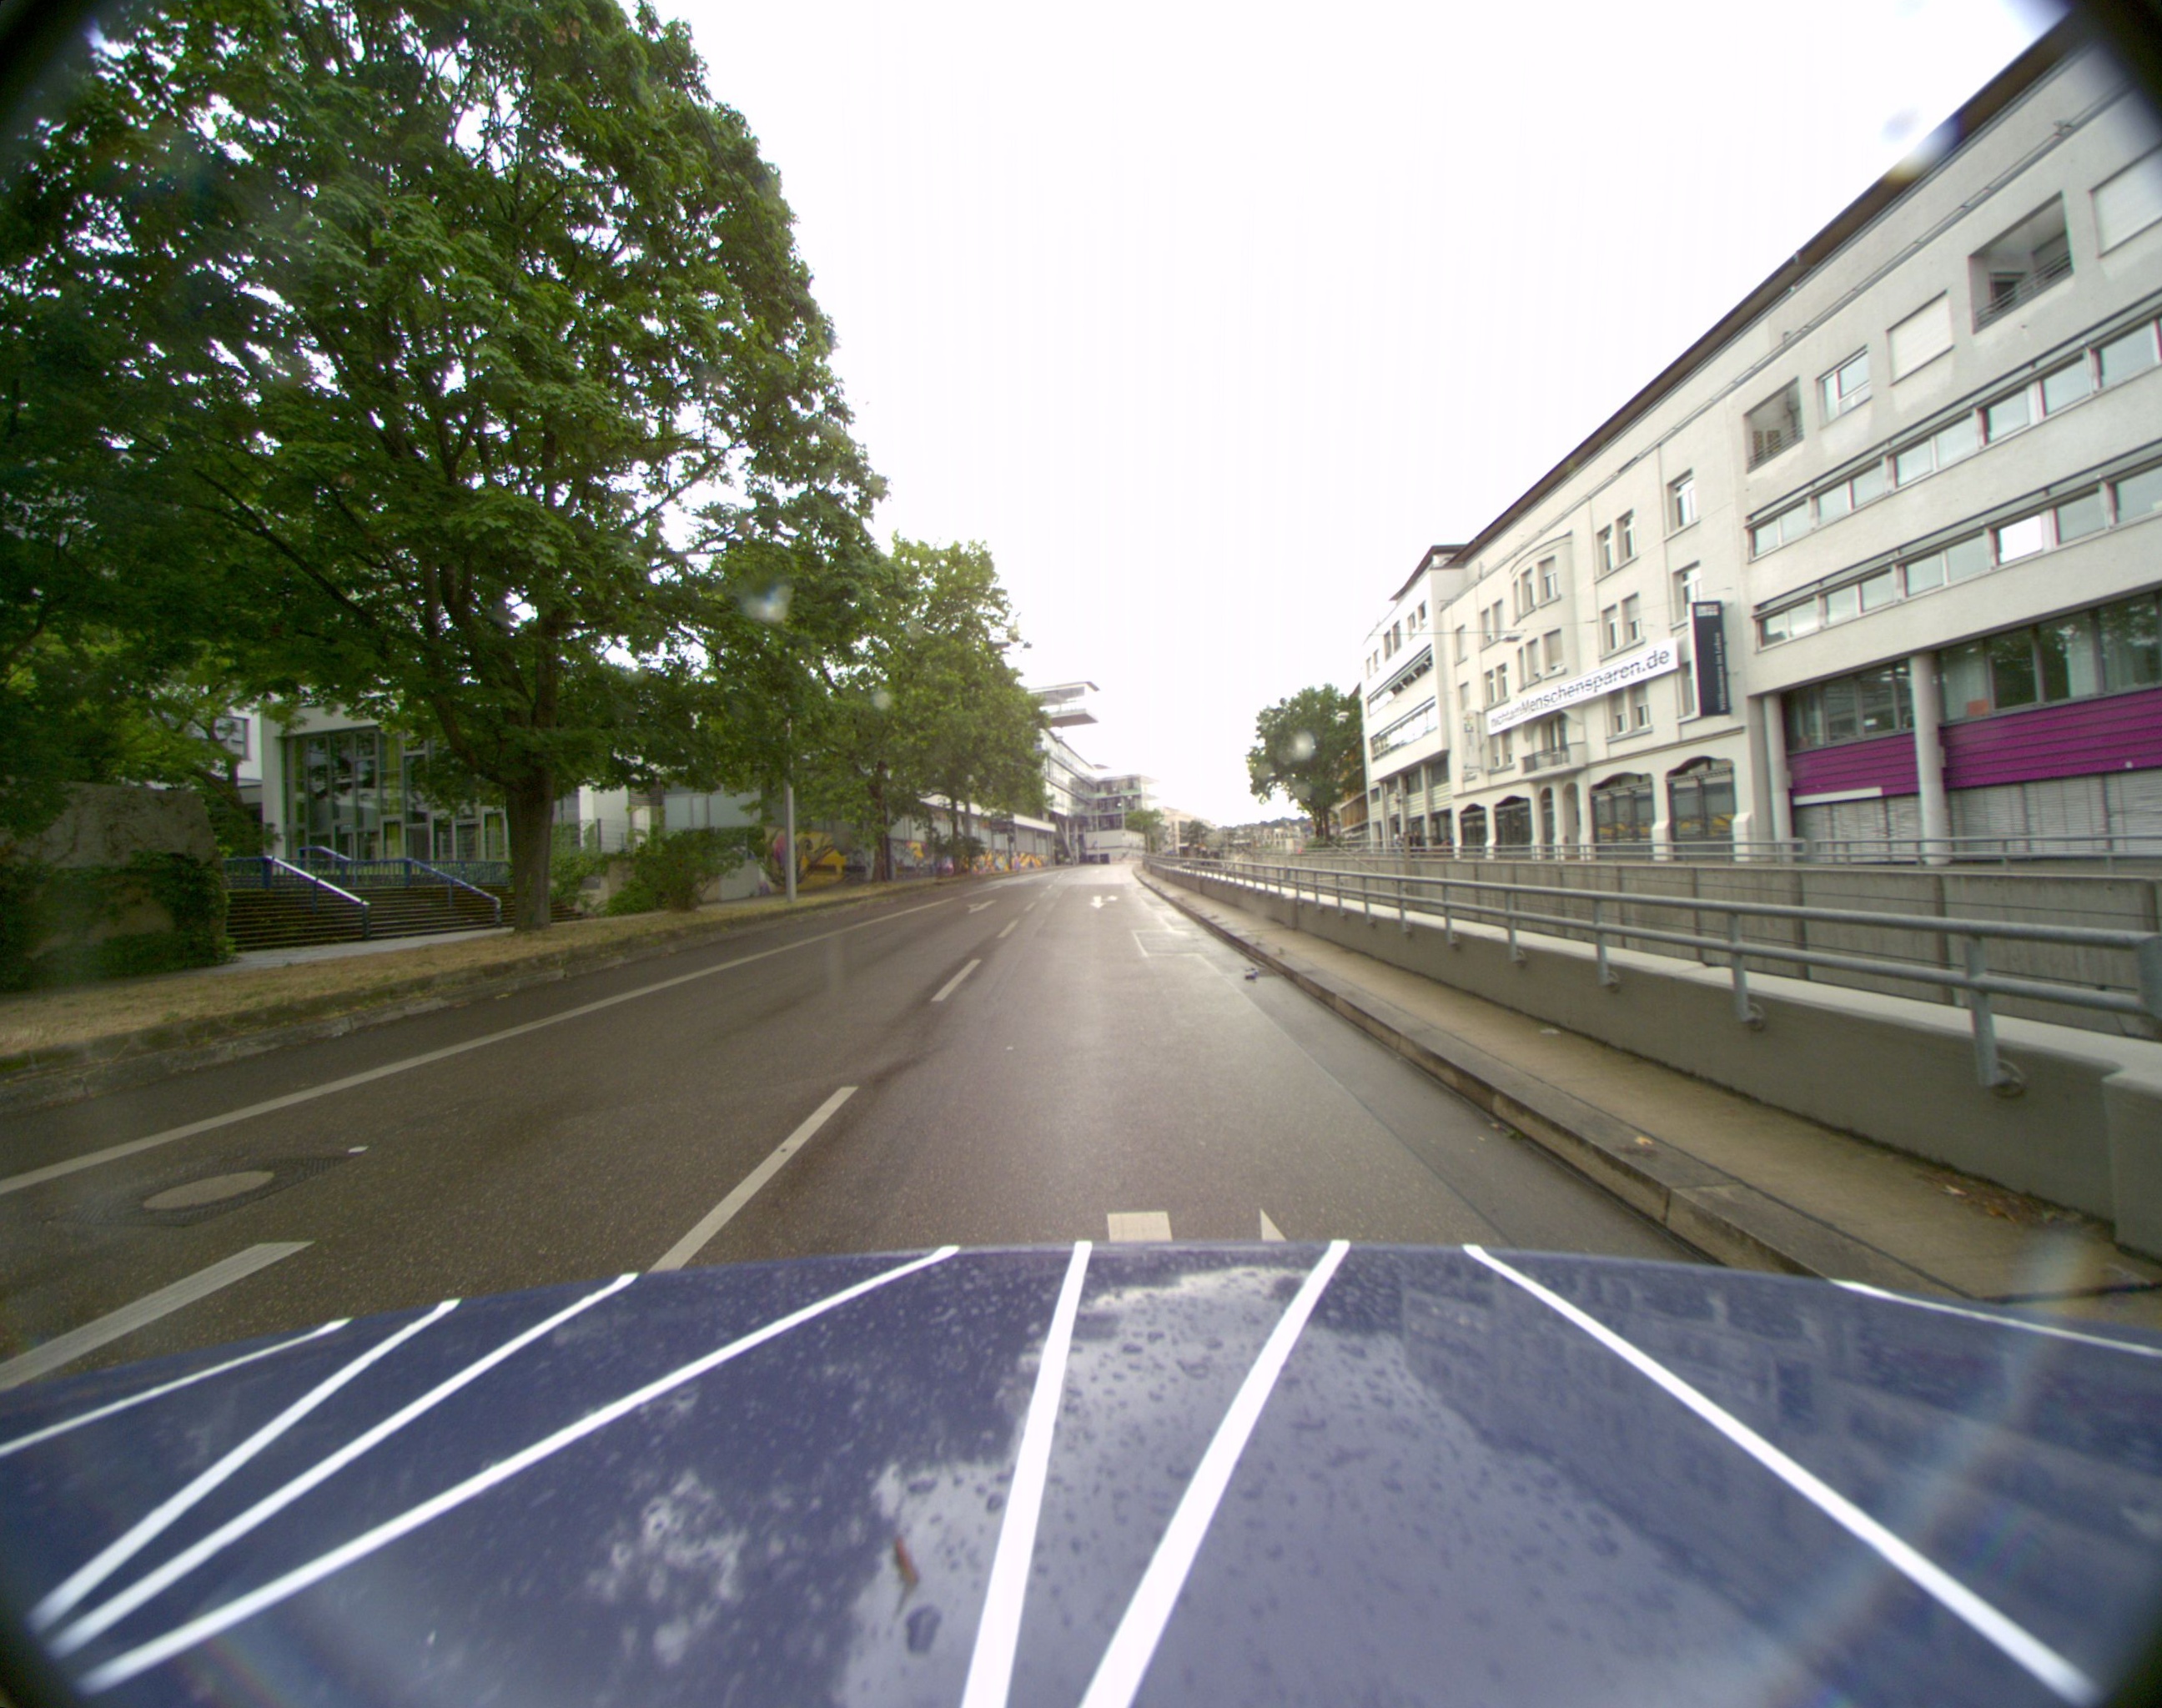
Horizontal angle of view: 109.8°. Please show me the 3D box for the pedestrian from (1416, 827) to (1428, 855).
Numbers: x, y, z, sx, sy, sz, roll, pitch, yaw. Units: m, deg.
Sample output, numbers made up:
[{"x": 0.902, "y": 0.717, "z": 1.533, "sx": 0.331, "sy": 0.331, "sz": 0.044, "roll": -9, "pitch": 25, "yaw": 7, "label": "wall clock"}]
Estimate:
[{"x": 22.563, "y": -0.869, "z": 50.314, "sx": 0.470, "sy": 1.792, "sz": 0.547, "roll": -4, "pitch": 1, "yaw": 3, "label": "pedestrian"}]

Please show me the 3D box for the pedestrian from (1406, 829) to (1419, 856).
[{"x": 22.472, "y": -0.794, "z": 51.576, "sx": 0.547, "sy": 1.792, "sz": 0.470, "roll": -4, "pitch": 1, "yaw": -7, "label": "pedestrian"}]

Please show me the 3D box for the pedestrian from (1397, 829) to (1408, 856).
[{"x": 21.744, "y": -0.771, "z": 51.350, "sx": 0.469, "sy": 1.792, "sz": 0.548, "roll": -4, "pitch": 1, "yaw": 8, "label": "pedestrian"}]
